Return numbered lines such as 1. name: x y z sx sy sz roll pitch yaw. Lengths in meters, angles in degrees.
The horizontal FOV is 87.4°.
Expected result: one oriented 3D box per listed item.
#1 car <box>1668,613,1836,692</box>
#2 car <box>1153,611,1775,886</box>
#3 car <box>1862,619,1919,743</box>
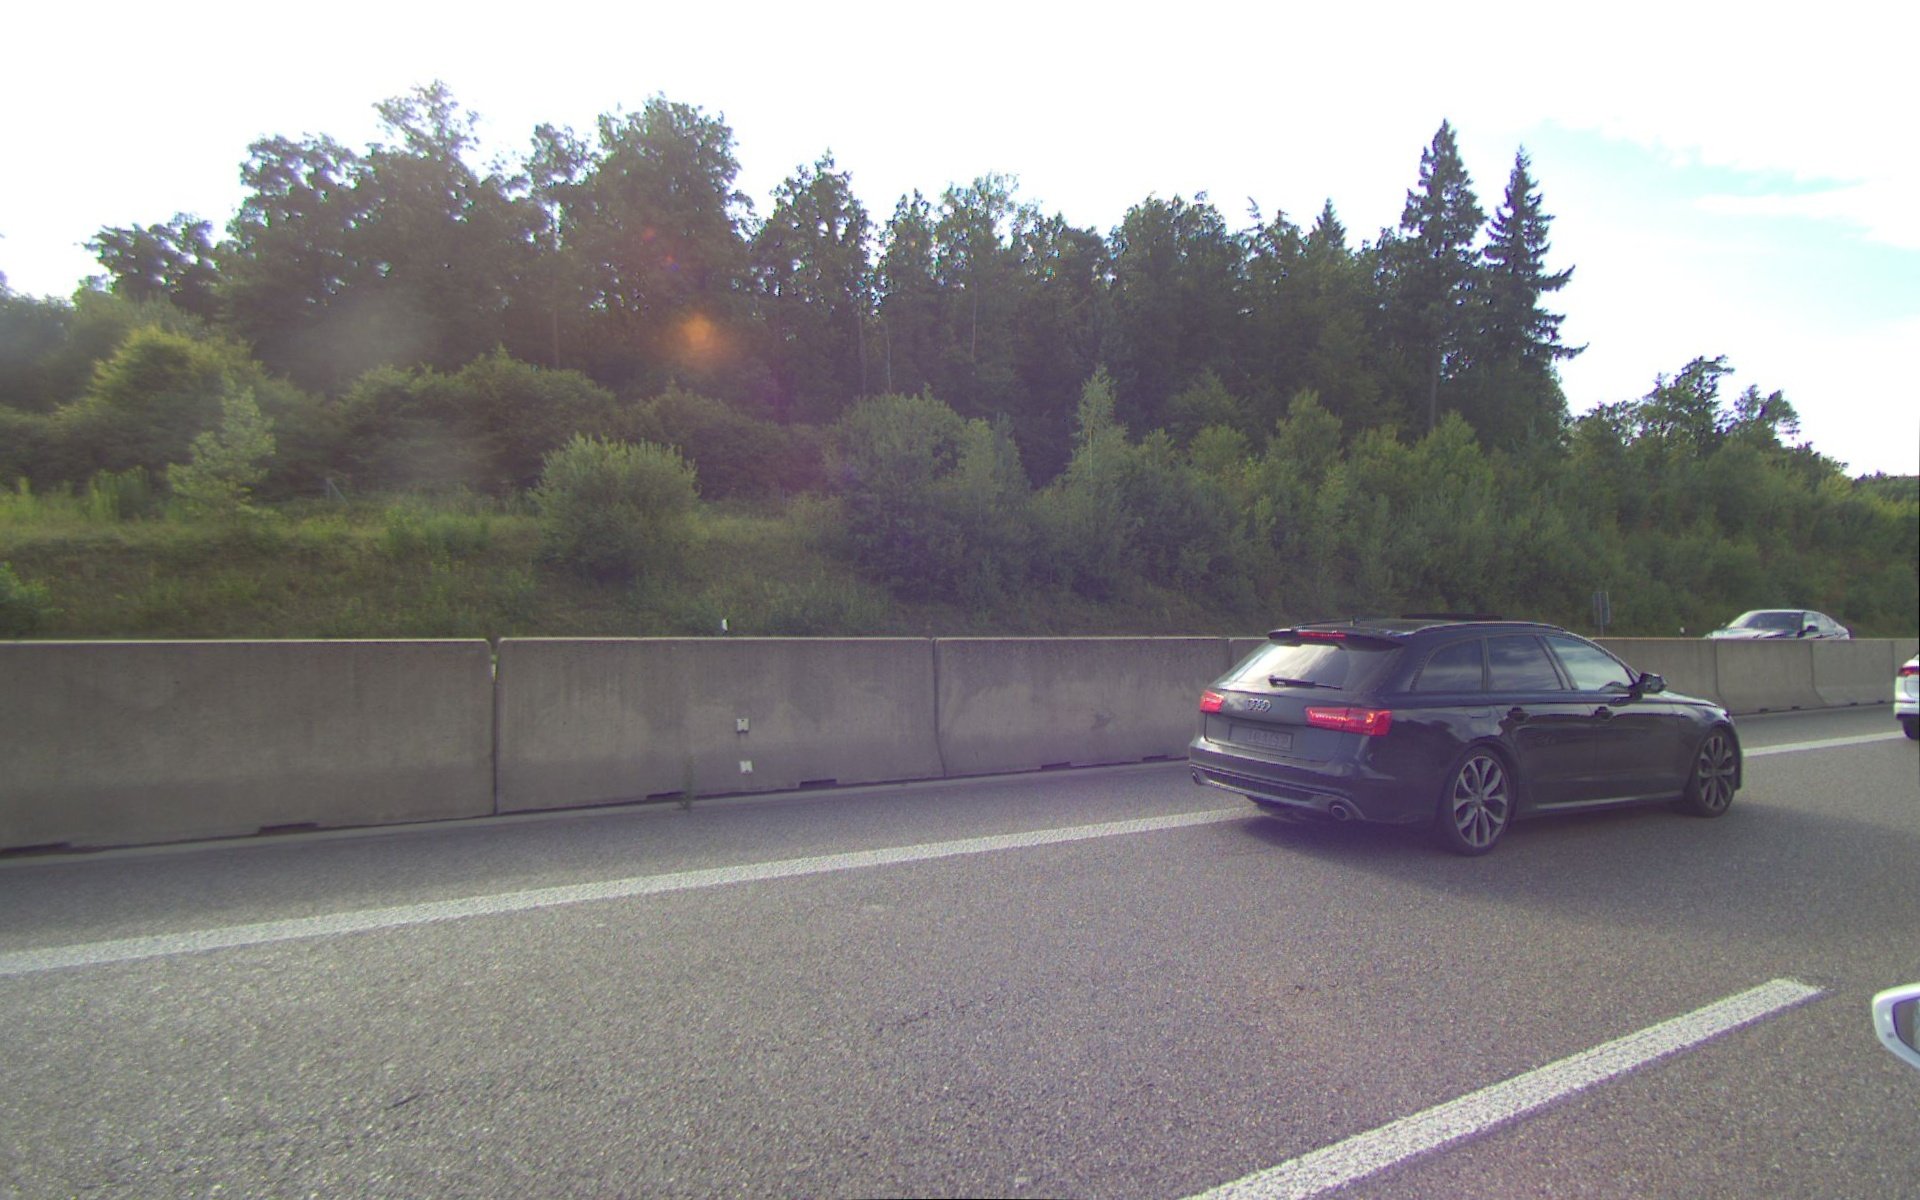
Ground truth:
1. car: 20.382 1.309 25.813 4.570 1.834 1.843 1 0 -30
2. car: 3.858 0.864 7.469 4.690 1.475 1.834 1 0 -30
3. car: 13.613 1.040 12.838 4.256 1.480 1.797 2 0 -29
